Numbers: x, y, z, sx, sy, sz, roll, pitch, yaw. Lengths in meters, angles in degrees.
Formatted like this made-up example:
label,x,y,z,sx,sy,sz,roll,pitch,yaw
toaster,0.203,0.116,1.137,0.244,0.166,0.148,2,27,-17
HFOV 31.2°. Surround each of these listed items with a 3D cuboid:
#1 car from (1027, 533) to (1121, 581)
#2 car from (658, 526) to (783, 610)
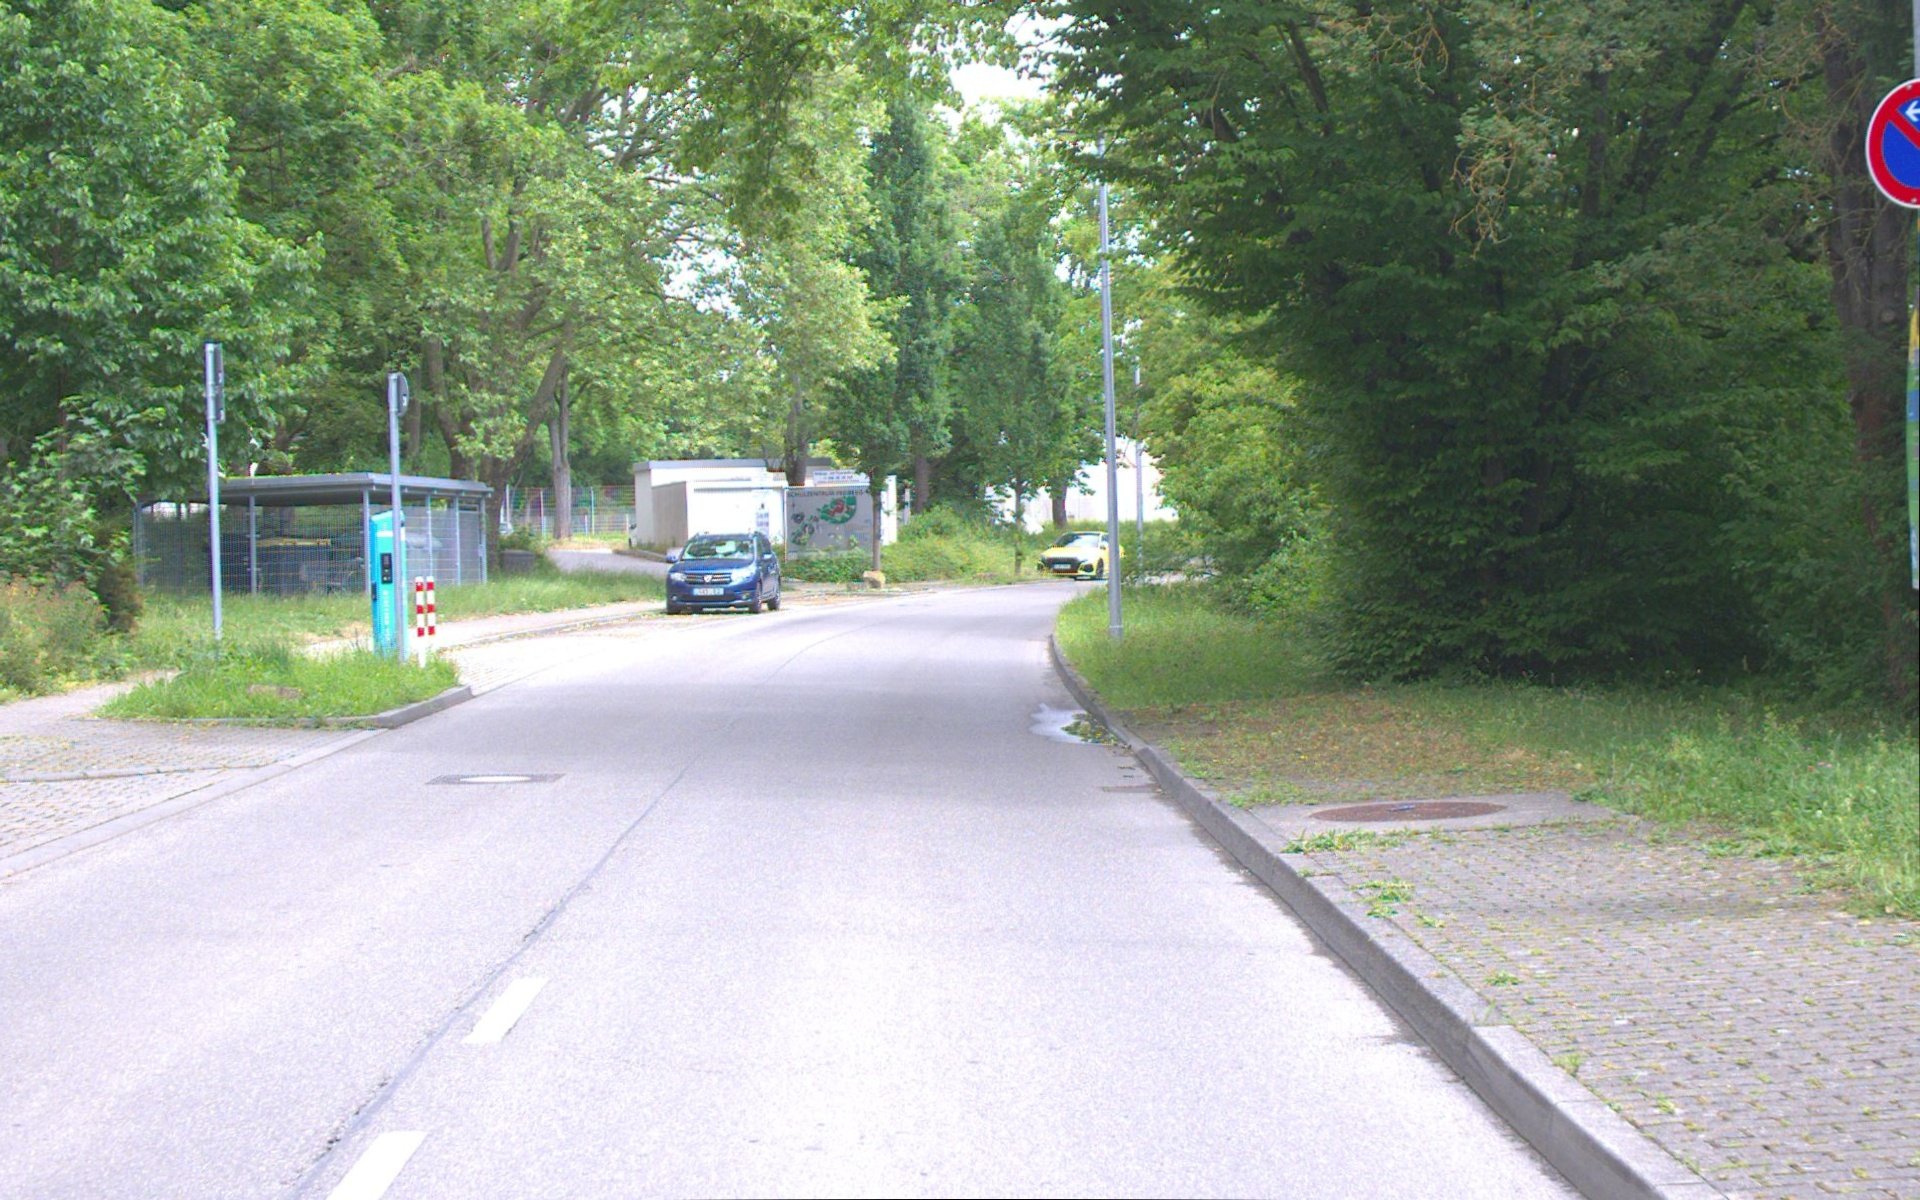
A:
label,x,y,z,sx,sy,sz,roll,pitch,yaw
car,3.395,-1.277,101.843,1.701,1.398,4.270,0,1,17
car,-4.447,-0.618,64.379,1.680,1.506,4.430,0,1,5
